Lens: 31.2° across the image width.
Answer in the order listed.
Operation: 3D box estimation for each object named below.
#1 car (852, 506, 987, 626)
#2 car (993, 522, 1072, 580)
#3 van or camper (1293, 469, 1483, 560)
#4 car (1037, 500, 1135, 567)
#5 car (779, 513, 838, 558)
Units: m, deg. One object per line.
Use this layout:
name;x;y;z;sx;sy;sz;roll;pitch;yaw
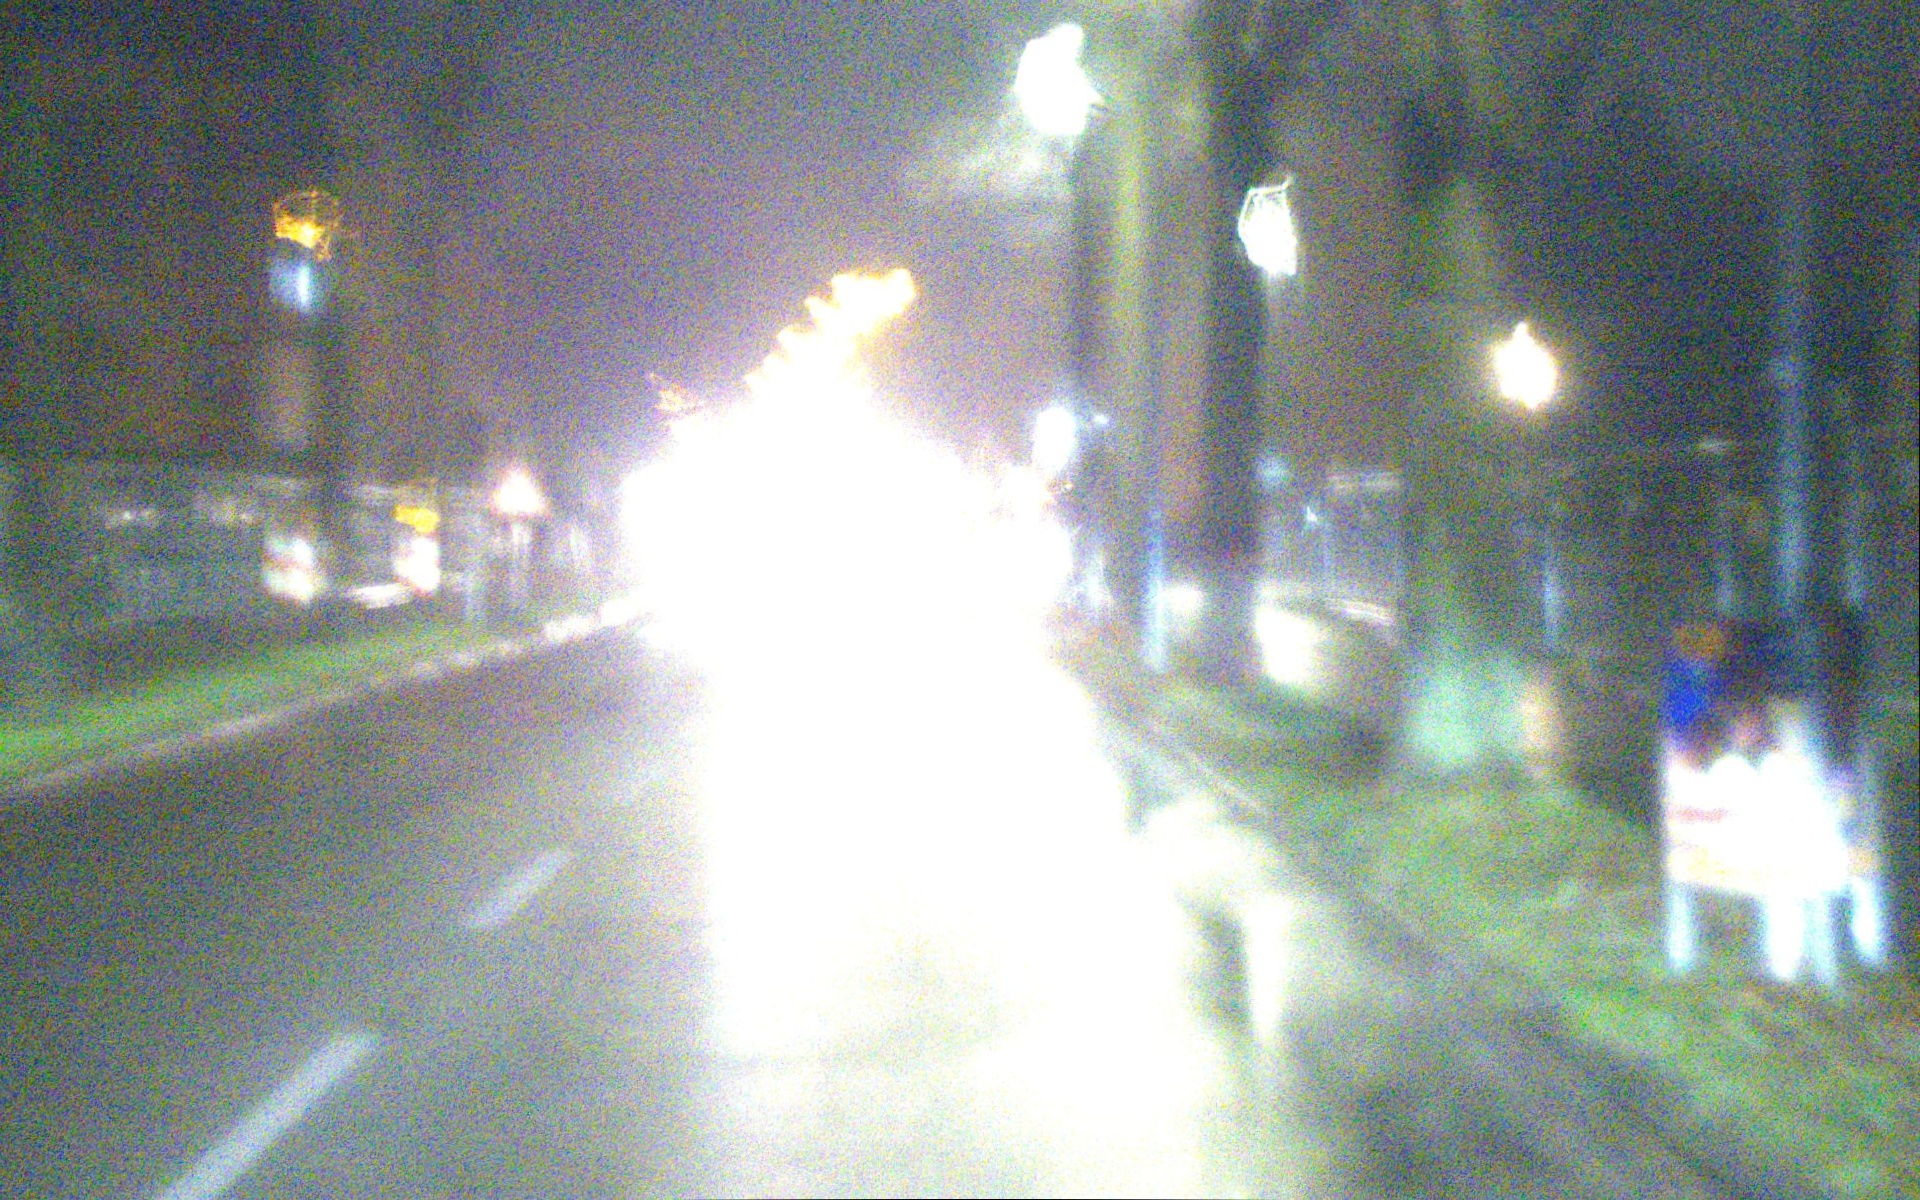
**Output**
car;-0.638;-0.557;53.063;1.993;1.678;4.001;0;3;-1
car;1.932;-1.339;92.715;1.713;1.483;4.437;-1;2;-4
van or camper;12.002;-2.416;96.653;5.062;2.518;2.172;0;2;0
car;2.956;-1.604;81.709;1.789;1.444;4.792;-2;2;-4
car;-4.961;-2.128;113.234;1.745;1.428;4.000;-1;1;0
